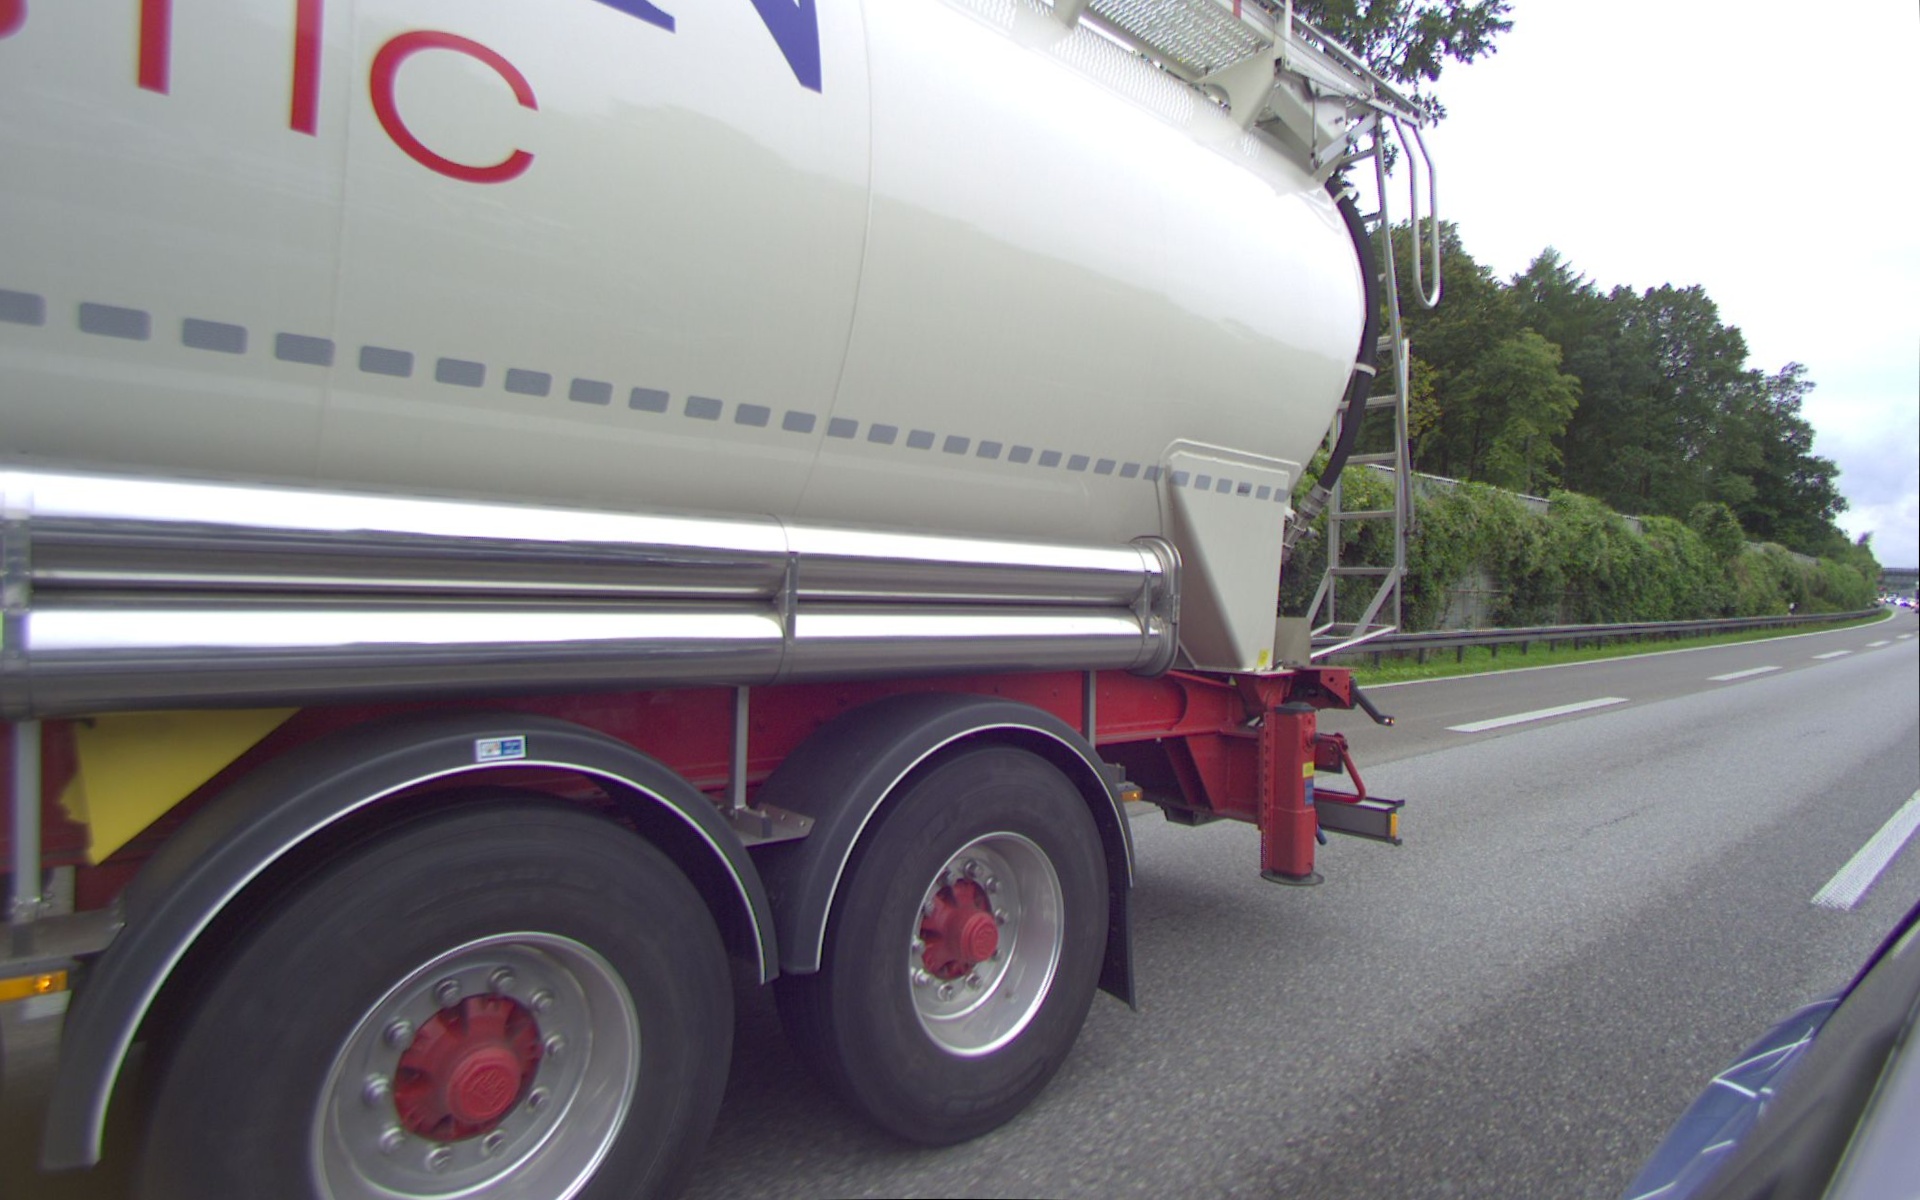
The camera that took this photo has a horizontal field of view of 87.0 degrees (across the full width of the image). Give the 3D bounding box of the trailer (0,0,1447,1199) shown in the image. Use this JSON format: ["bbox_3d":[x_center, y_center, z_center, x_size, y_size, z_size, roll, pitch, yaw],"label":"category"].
[{"bbox_3d":[-3.626,-0.573,1.103,12.902,3.988,2.673,0,1,-41],"label":"trailer"}]

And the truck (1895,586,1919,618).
[{"bbox_3d":[118.688,0.179,125.520,2.693,3.757,8.141,1,2,34],"label":"truck"}]
